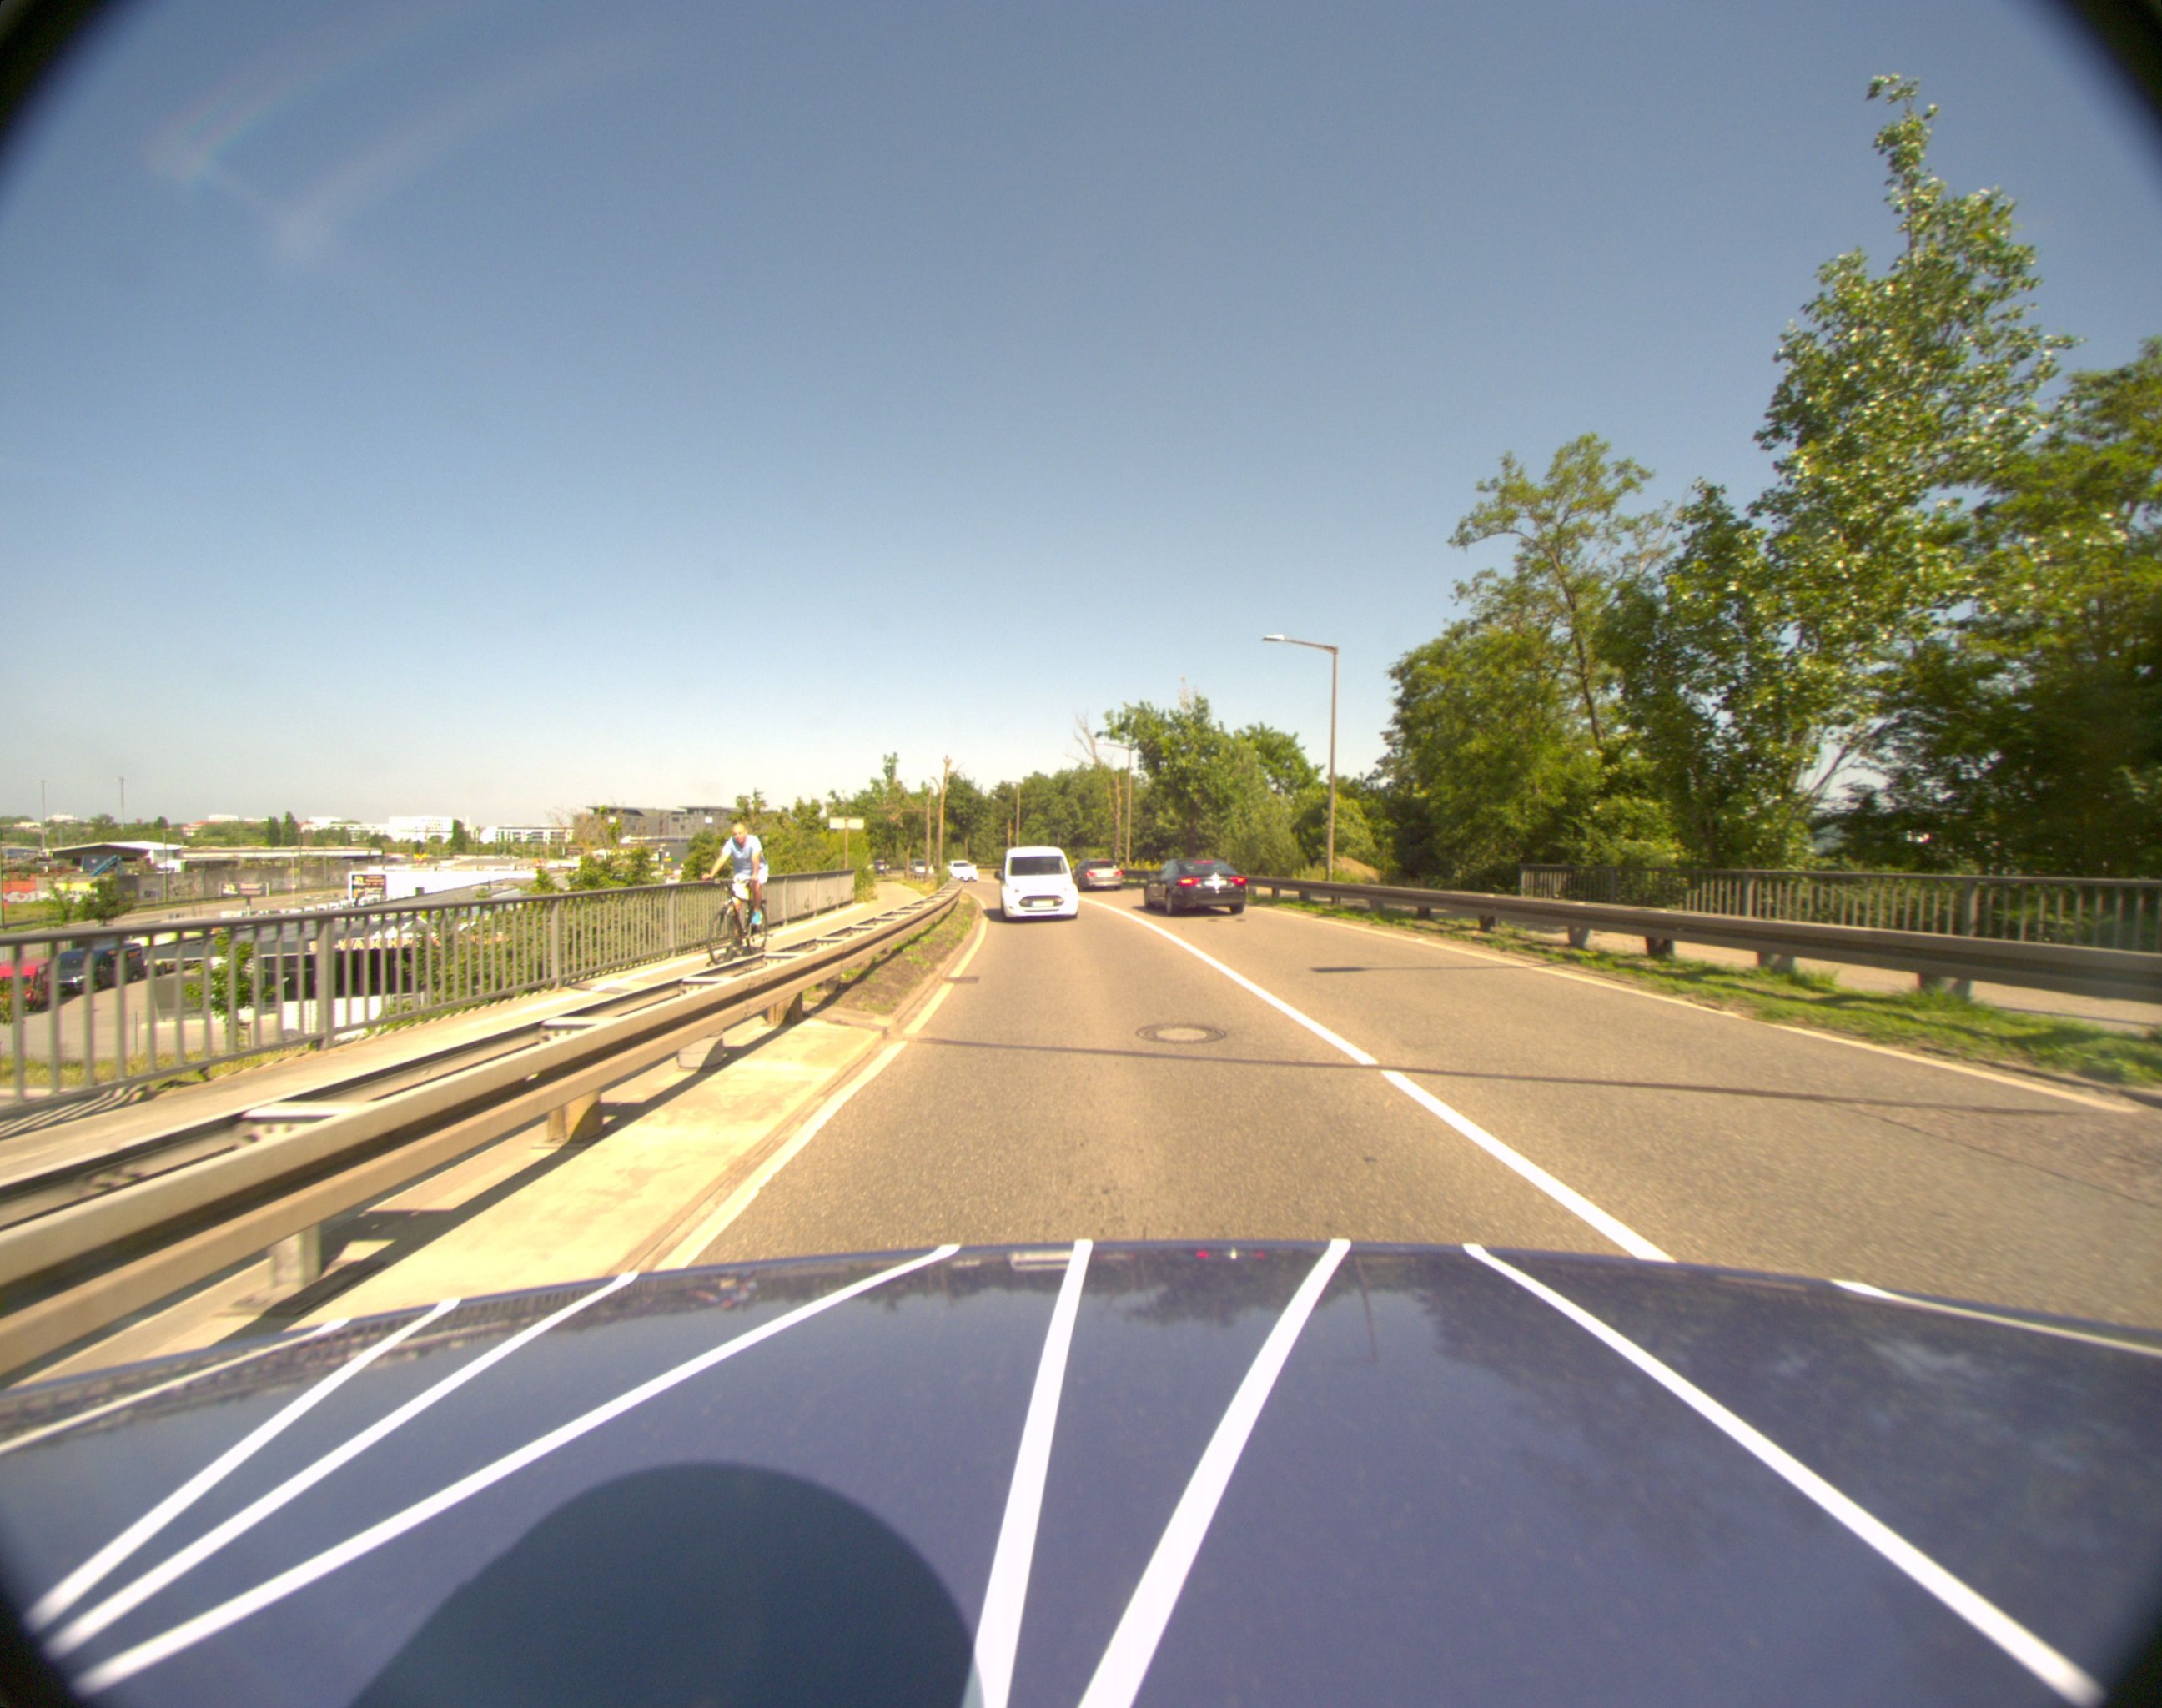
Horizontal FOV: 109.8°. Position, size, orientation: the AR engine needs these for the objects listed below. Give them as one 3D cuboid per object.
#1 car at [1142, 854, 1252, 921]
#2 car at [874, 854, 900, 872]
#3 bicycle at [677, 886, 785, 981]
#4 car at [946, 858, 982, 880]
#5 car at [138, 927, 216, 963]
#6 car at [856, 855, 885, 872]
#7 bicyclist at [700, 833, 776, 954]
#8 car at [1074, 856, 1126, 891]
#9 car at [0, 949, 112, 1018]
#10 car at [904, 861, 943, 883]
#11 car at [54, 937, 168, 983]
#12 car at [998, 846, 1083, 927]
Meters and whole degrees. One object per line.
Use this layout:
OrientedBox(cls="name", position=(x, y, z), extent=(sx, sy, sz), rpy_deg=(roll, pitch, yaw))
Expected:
OrientedBox(cls="car", position=(2.814, 0.746, 19.389), extent=(1.744, 1.448, 4.296), rpy_deg=(-2, 0, -6))
OrientedBox(cls="car", position=(-23.260, 1.064, 91.042), extent=(1.939, 1.526, 4.104), rpy_deg=(-4, 8, -28))
OrientedBox(cls="bicycle", position=(-4.497, 0.987, 9.901), extent=(0.704, 1.014, 1.844), rpy_deg=(2, 0, -7))
OrientedBox(cls="car", position=(-8.287, 1.027, 53.654), extent=(1.848, 1.480, 4.145), rpy_deg=(-2, 0, -17))
OrientedBox(cls="car", position=(-62.983, 6.301, 53.032), extent=(2.002, 1.861, 3.991), rpy_deg=(-7, 3, -29))
OrientedBox(cls="car", position=(-23.409, 1.040, 84.374), extent=(2.003, 1.757, 3.990), rpy_deg=(-3, 2, -31))
OrientedBox(cls="bicyclist", position=(-4.479, 0.491, 9.975), extent=(0.660, 1.511, 0.802), rpy_deg=(2, 1, -7))
OrientedBox(cls="car", position=(0.784, 0.806, 33.603), extent=(1.722, 1.390, 4.179), rpy_deg=(-2, 1, -6))
OrientedBox(cls="car", position=(-56.953, 7.061, 41.793), extent=(2.310, 2.650, 5.364), rpy_deg=(-7, 5, -29))
OrientedBox(cls="car", position=(-13.593, 1.522, 65.379), extent=(2.002, 1.577, 3.990), rpy_deg=(-7, 4, -29))
OrientedBox(cls="car", position=(-60.099, 6.523, 47.252), extent=(2.310, 1.666, 5.364), rpy_deg=(-7, 5, -29))
OrientedBox(cls="car", position=(-1.100, 0.738, 19.627), extent=(1.898, 1.785, 4.445), rpy_deg=(-2, 0, -5))
